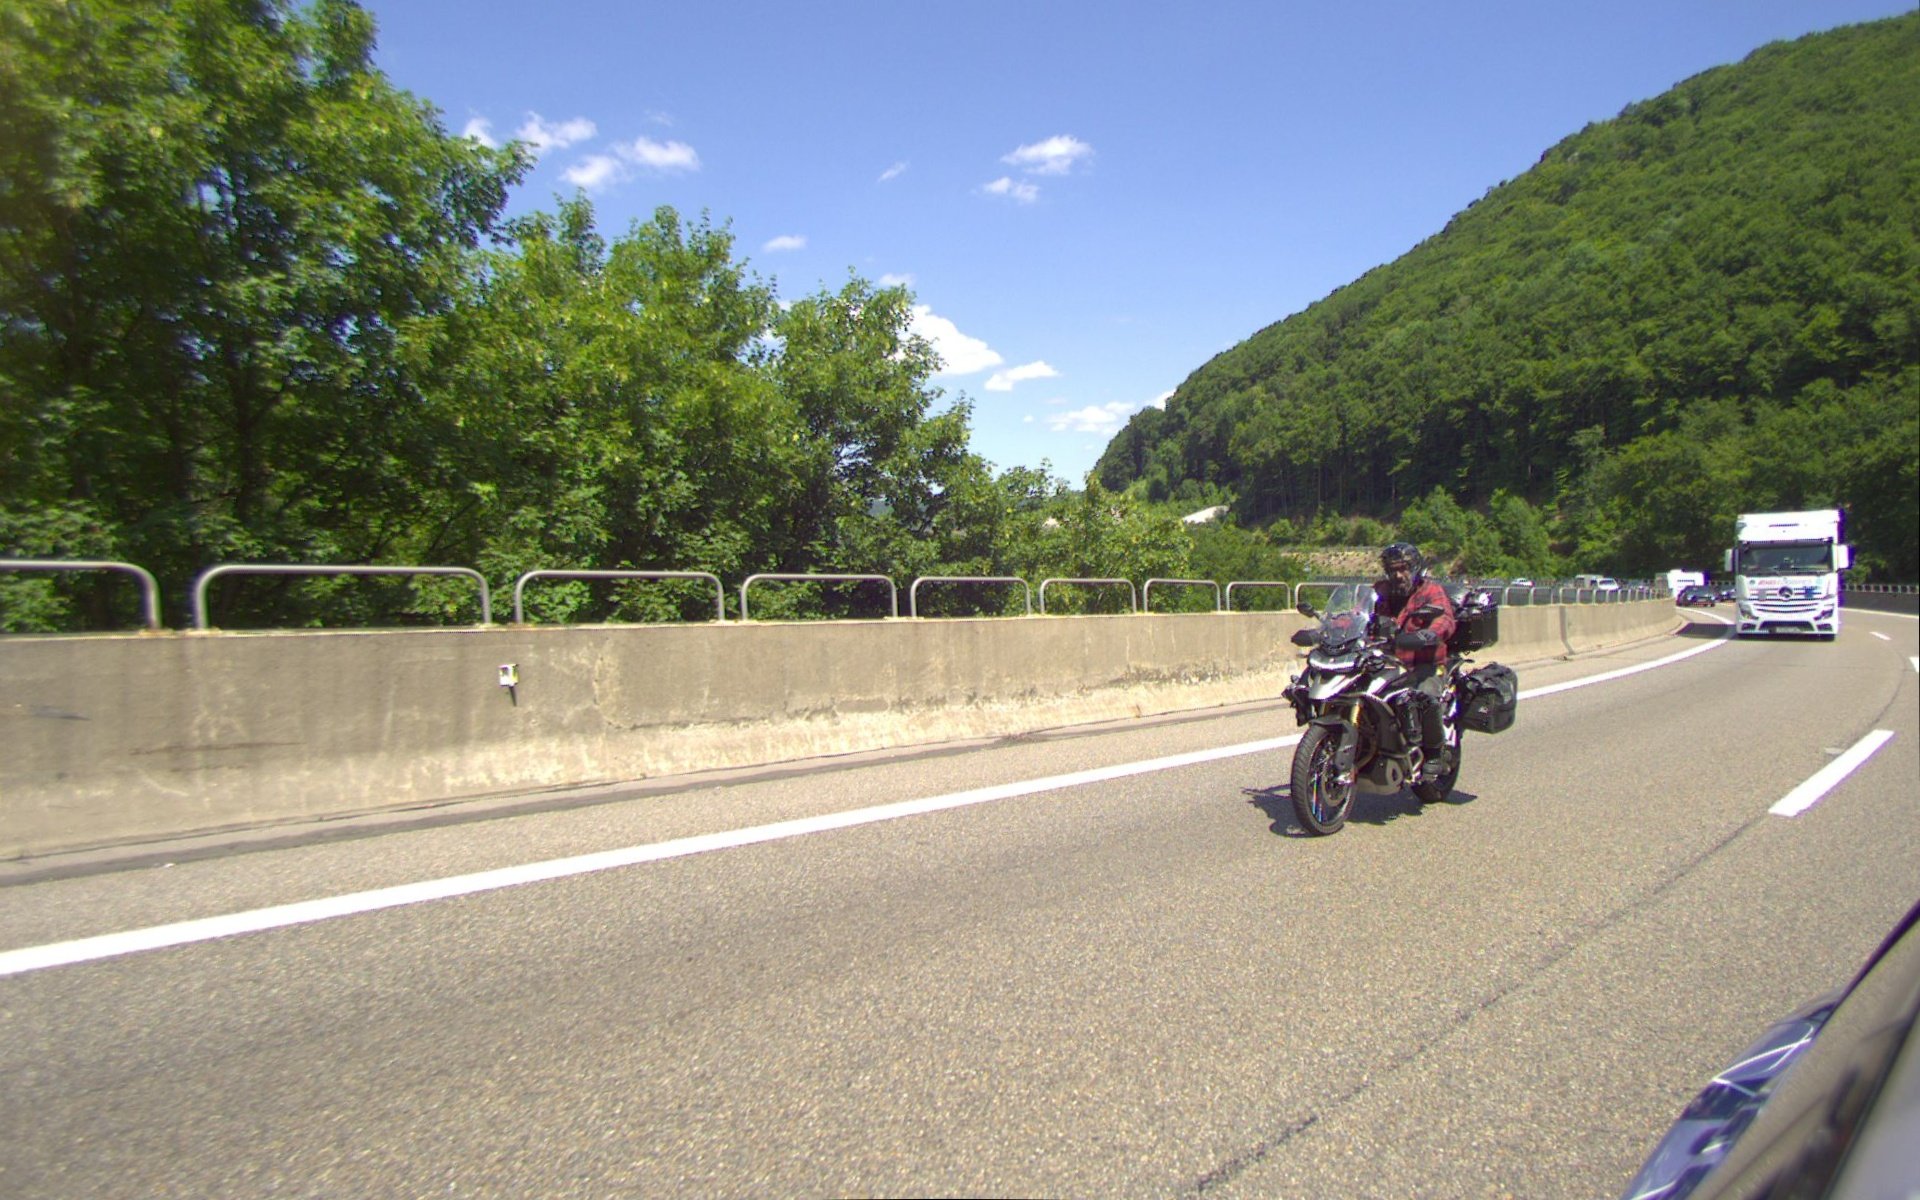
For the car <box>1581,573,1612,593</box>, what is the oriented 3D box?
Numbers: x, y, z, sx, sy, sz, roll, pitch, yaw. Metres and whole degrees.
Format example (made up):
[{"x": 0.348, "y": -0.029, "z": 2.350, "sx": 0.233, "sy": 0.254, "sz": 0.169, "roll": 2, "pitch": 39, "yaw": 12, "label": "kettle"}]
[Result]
[{"x": 71.309, "y": -1.894, "z": 113.460, "sx": 1.975, "sy": 2.038, "sz": 3.977, "roll": 3, "pitch": 3, "yaw": 19, "label": "car"}]

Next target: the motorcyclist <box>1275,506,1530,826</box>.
[{"x": 2.887, "y": 0.363, "z": 6.598, "sx": 1.314, "sy": 1.823, "sz": 1.062, "roll": 0, "pitch": 1, "yaw": -41, "label": "motorcyclist"}]

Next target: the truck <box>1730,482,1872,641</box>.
[{"x": 28.003, "y": -1.089, "z": 34.019, "sx": 2.956, "sy": 4.184, "sz": 16.473, "roll": 0, "pitch": 1, "yaw": 39, "label": "truck"}]

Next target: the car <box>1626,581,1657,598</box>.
[{"x": 76.244, "y": -1.163, "z": 113.287, "sx": 1.975, "sy": 1.816, "sz": 3.974, "roll": 1, "pitch": 1, "yaw": 20, "label": "car"}]

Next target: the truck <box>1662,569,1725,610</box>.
[{"x": 57.589, "y": -0.839, "z": 79.605, "sx": 2.590, "sy": 3.141, "sz": 6.801, "roll": 0, "pitch": 1, "yaw": 23, "label": "truck"}]

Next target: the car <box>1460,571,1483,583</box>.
[{"x": 86.309, "y": -3.870, "z": 170.897, "sx": 1.964, "sy": 2.039, "sz": 3.997, "roll": 1, "pitch": 1, "yaw": 3, "label": "car"}]

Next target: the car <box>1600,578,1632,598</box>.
[{"x": 69.110, "y": -1.243, "z": 106.620, "sx": 1.976, "sy": 2.039, "sz": 3.973, "roll": 1, "pitch": 1, "yaw": 21, "label": "car"}]

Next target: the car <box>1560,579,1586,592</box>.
[{"x": 82.836, "y": -1.941, "z": 136.790, "sx": 1.971, "sy": 1.816, "sz": 3.983, "roll": 0, "pitch": 1, "yaw": 14, "label": "car"}]

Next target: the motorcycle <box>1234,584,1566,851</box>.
[{"x": 2.988, "y": 0.620, "z": 6.691, "sx": 2.634, "sy": 1.437, "sz": 0.974, "roll": 0, "pitch": 1, "yaw": -41, "label": "motorcycle"}]

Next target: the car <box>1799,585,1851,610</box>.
[{"x": 55.279, "y": -0.177, "z": 64.742, "sx": 1.741, "sy": 1.507, "sz": 3.942, "roll": 1, "pitch": 1, "yaw": 28, "label": "car"}]

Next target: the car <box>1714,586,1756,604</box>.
[{"x": 65.059, "y": -0.419, "z": 84.987, "sx": 1.979, "sy": 1.471, "sz": 3.966, "roll": 1, "pitch": 1, "yaw": 25, "label": "car"}]

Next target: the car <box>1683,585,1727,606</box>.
[{"x": 55.027, "y": -0.336, "z": 74.819, "sx": 1.737, "sy": 1.507, "sz": 3.950, "roll": 1, "pitch": 1, "yaw": 23, "label": "car"}]
